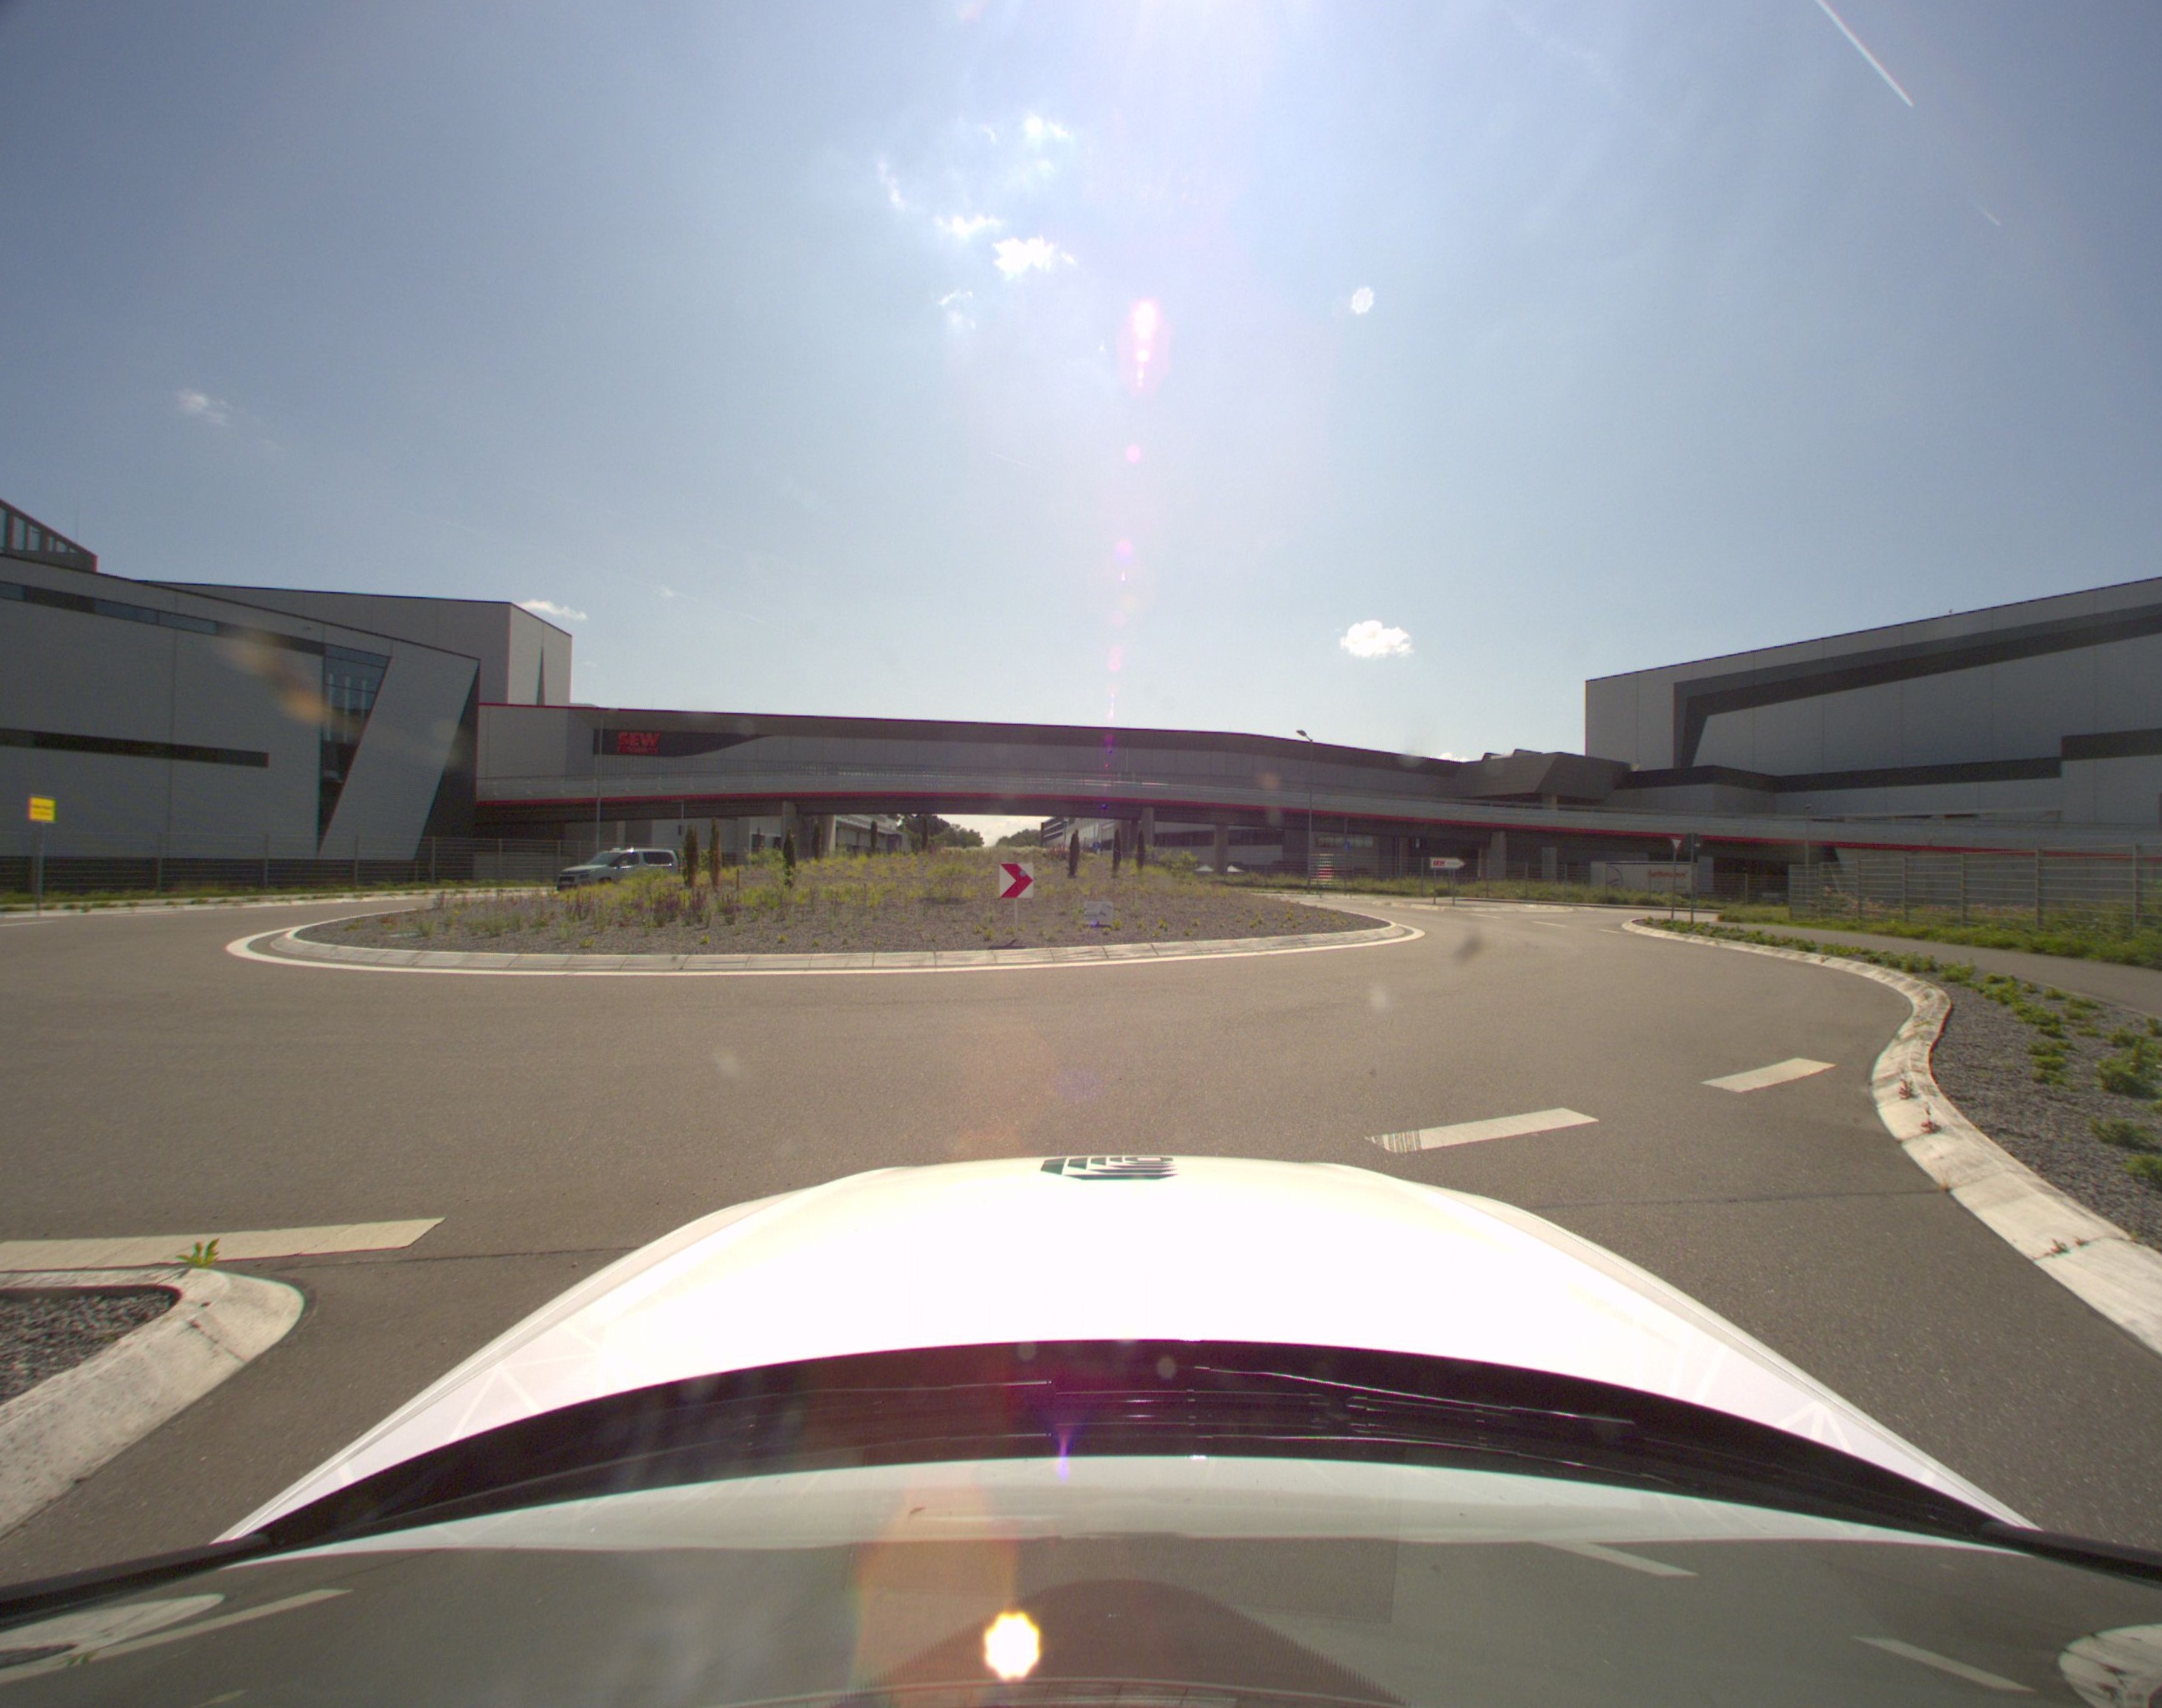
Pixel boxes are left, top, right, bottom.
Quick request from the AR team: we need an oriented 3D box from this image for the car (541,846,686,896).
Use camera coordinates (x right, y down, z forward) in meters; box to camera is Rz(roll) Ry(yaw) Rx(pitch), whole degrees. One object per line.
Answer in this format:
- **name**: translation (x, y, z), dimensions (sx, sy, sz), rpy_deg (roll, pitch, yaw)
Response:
- **car**: translation (-17.840, 0.619, 31.345), dimensions (1.976, 1.779, 4.584), rpy_deg (0, -1, 21)
